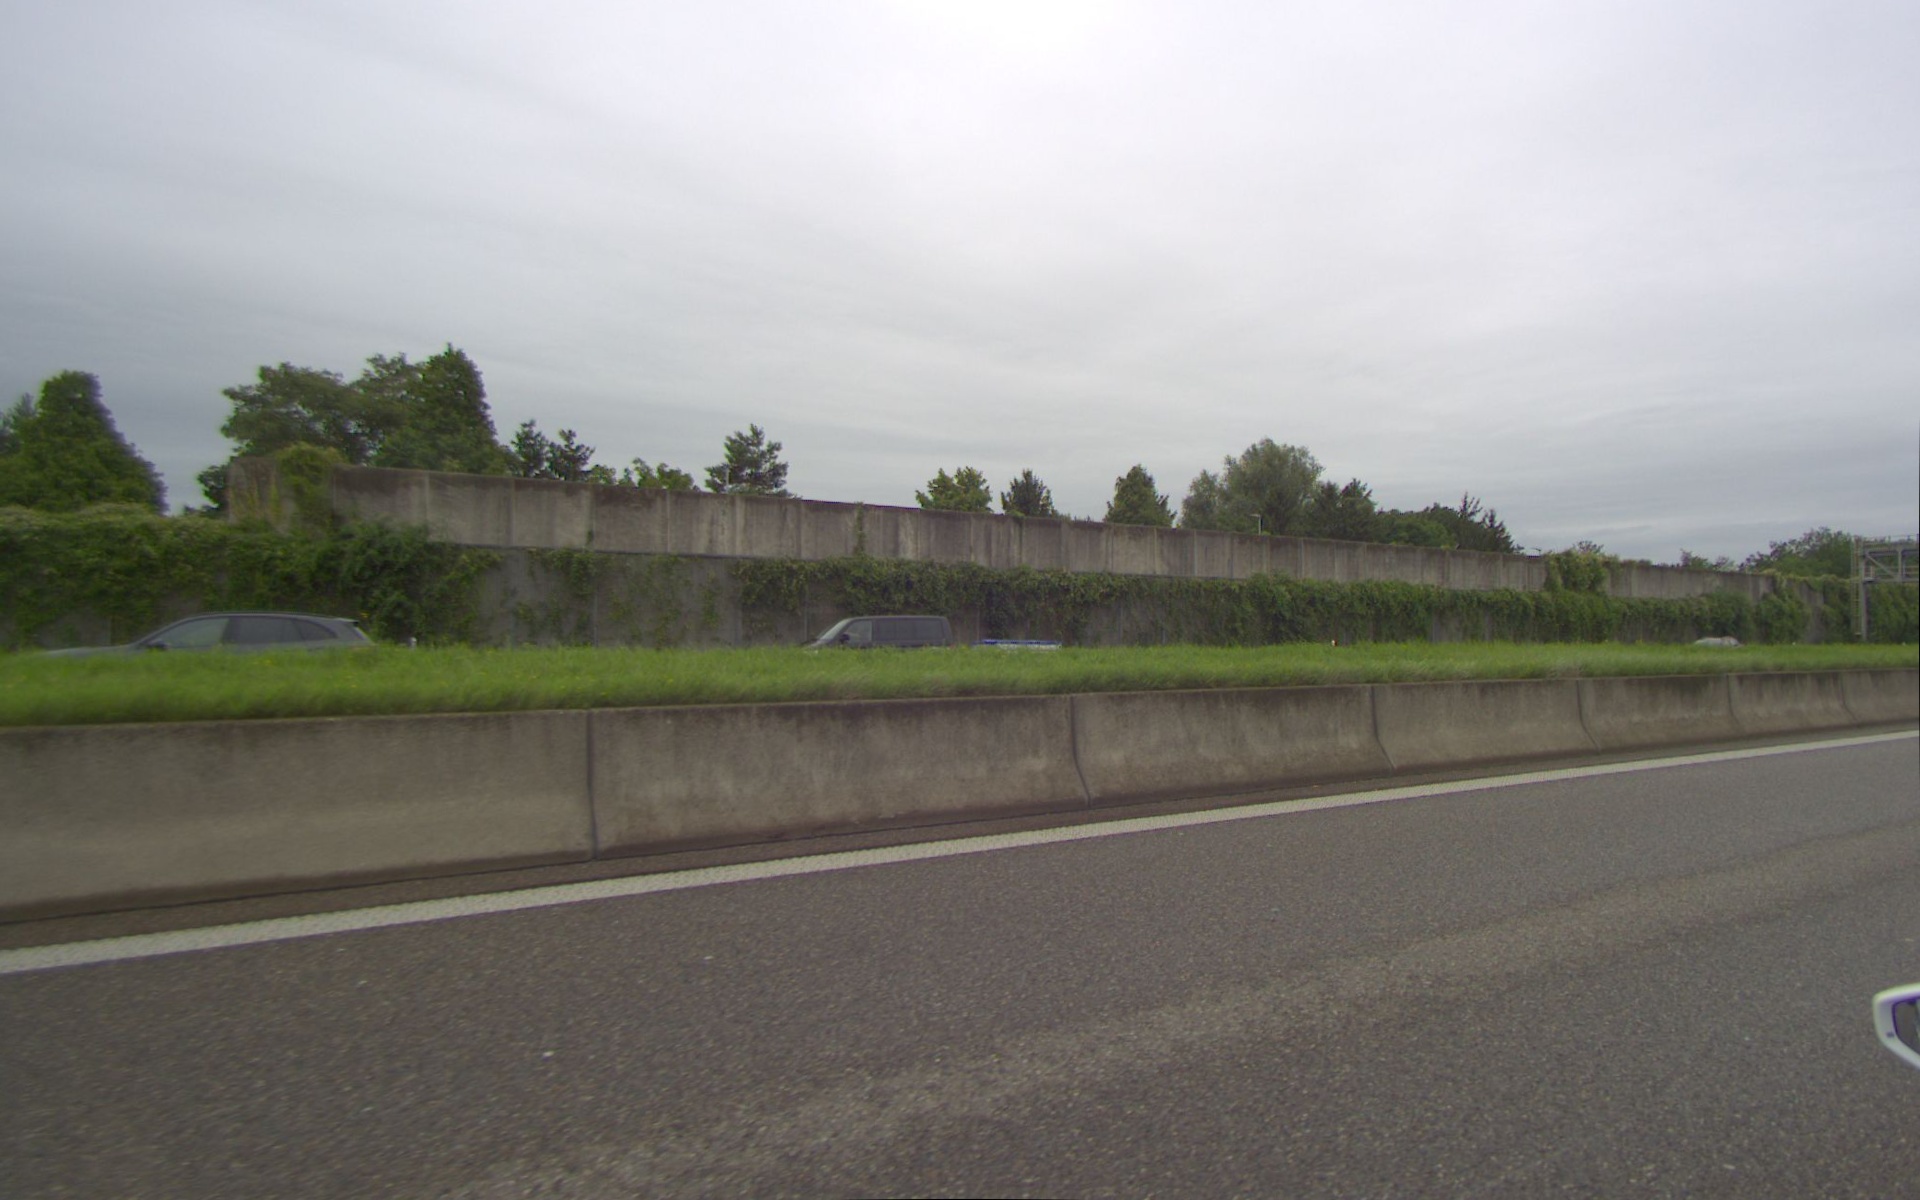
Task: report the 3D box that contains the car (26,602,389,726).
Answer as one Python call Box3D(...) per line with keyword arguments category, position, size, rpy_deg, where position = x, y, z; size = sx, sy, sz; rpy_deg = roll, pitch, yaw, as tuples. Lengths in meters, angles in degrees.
Box3D(category="car", position=(-11.295, 0.928, 15.507), size=(4.246, 1.654, 1.773), rpy_deg=(2, 0, -32))

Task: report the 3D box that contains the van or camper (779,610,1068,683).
Box3D(category="van or camper", position=(-0.882, 1.331, 29.088), size=(8.341, 1.824, 2.180), rpy_deg=(2, 0, -31))
